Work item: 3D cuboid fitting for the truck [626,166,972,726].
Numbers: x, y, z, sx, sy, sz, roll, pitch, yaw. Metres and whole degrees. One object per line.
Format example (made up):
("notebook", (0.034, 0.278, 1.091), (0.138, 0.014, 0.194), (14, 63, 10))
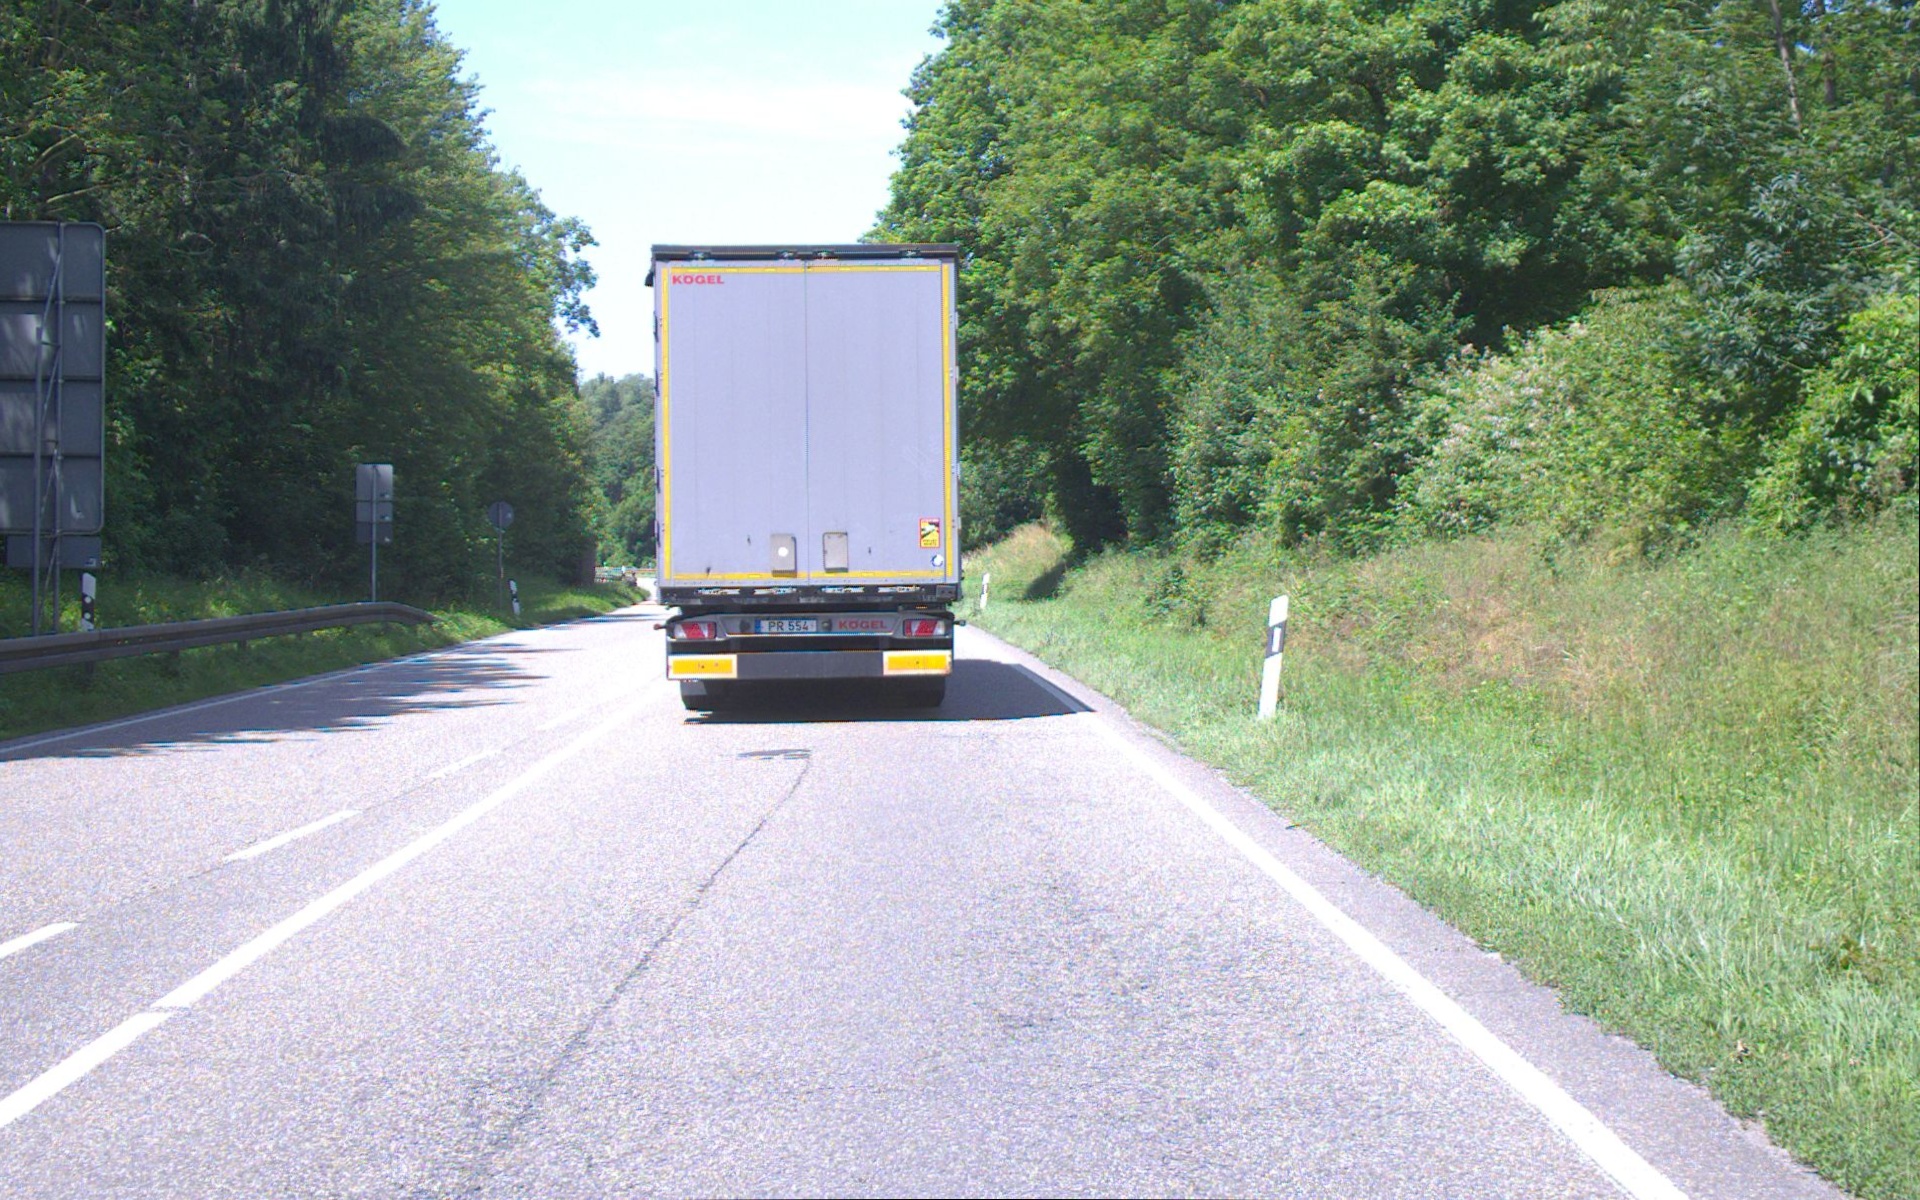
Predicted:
("truck", (-1.370, -1.383, 31.577), (2.822, 4.587, 6.666), (0, 2, -1))
